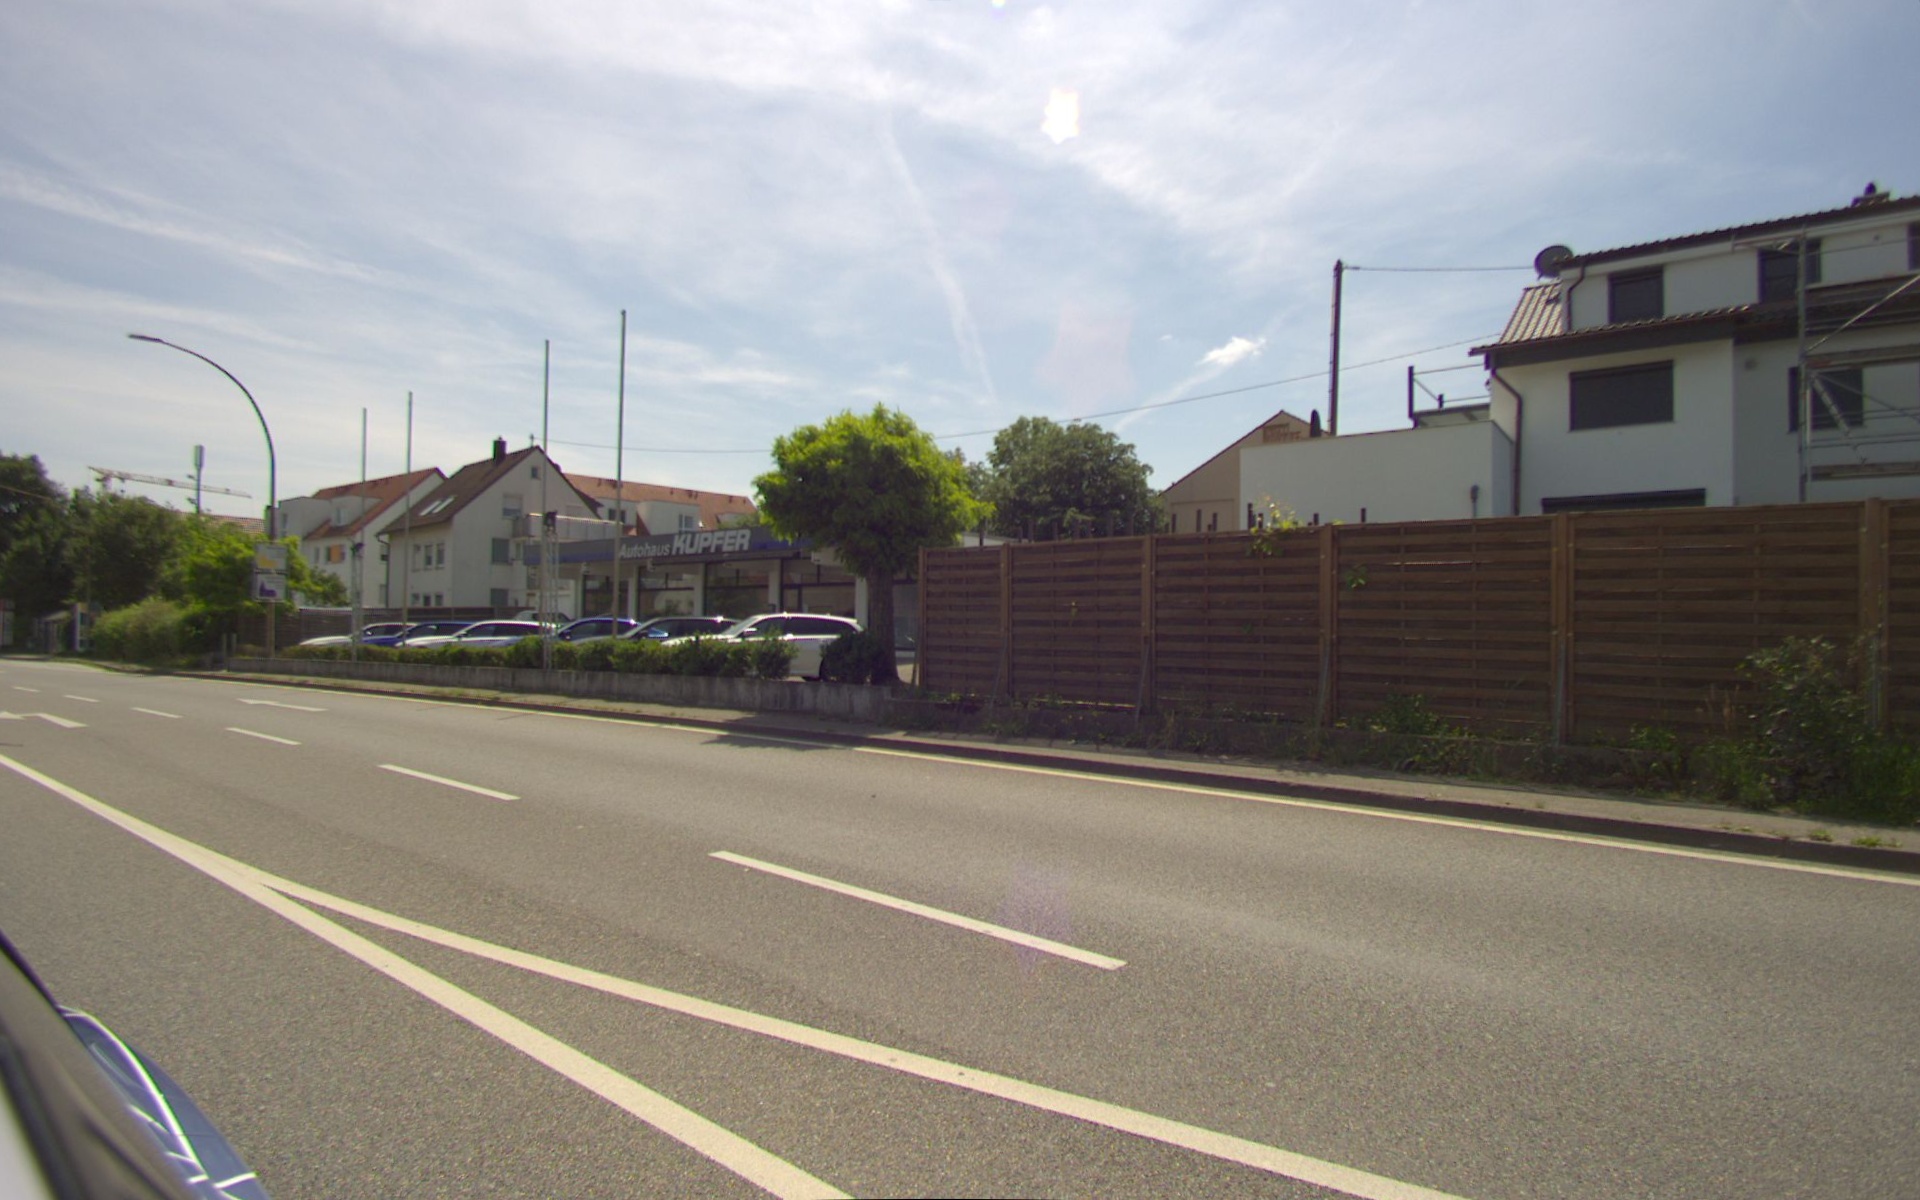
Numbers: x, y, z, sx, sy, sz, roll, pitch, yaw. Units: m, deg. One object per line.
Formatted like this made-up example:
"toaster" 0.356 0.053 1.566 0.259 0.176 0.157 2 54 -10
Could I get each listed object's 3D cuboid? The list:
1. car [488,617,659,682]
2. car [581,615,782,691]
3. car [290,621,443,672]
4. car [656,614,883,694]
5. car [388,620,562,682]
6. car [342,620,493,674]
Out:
"car" -9.860 1.208 25.796 3.931 1.453 1.860 -1 -1 -25
"car" -6.459 1.178 23.528 4.187 1.557 1.856 -1 -1 -27
"car" -19.664 1.508 33.771 4.192 1.541 2.007 -1 -1 -24
"car" -3.928 1.051 20.903 4.264 1.471 1.861 0 -1 -26
"car" -13.454 1.383 28.327 4.239 1.530 2.006 -1 -1 -23
"car" -16.607 1.408 31.223 3.930 1.475 2.007 -1 -1 -24
